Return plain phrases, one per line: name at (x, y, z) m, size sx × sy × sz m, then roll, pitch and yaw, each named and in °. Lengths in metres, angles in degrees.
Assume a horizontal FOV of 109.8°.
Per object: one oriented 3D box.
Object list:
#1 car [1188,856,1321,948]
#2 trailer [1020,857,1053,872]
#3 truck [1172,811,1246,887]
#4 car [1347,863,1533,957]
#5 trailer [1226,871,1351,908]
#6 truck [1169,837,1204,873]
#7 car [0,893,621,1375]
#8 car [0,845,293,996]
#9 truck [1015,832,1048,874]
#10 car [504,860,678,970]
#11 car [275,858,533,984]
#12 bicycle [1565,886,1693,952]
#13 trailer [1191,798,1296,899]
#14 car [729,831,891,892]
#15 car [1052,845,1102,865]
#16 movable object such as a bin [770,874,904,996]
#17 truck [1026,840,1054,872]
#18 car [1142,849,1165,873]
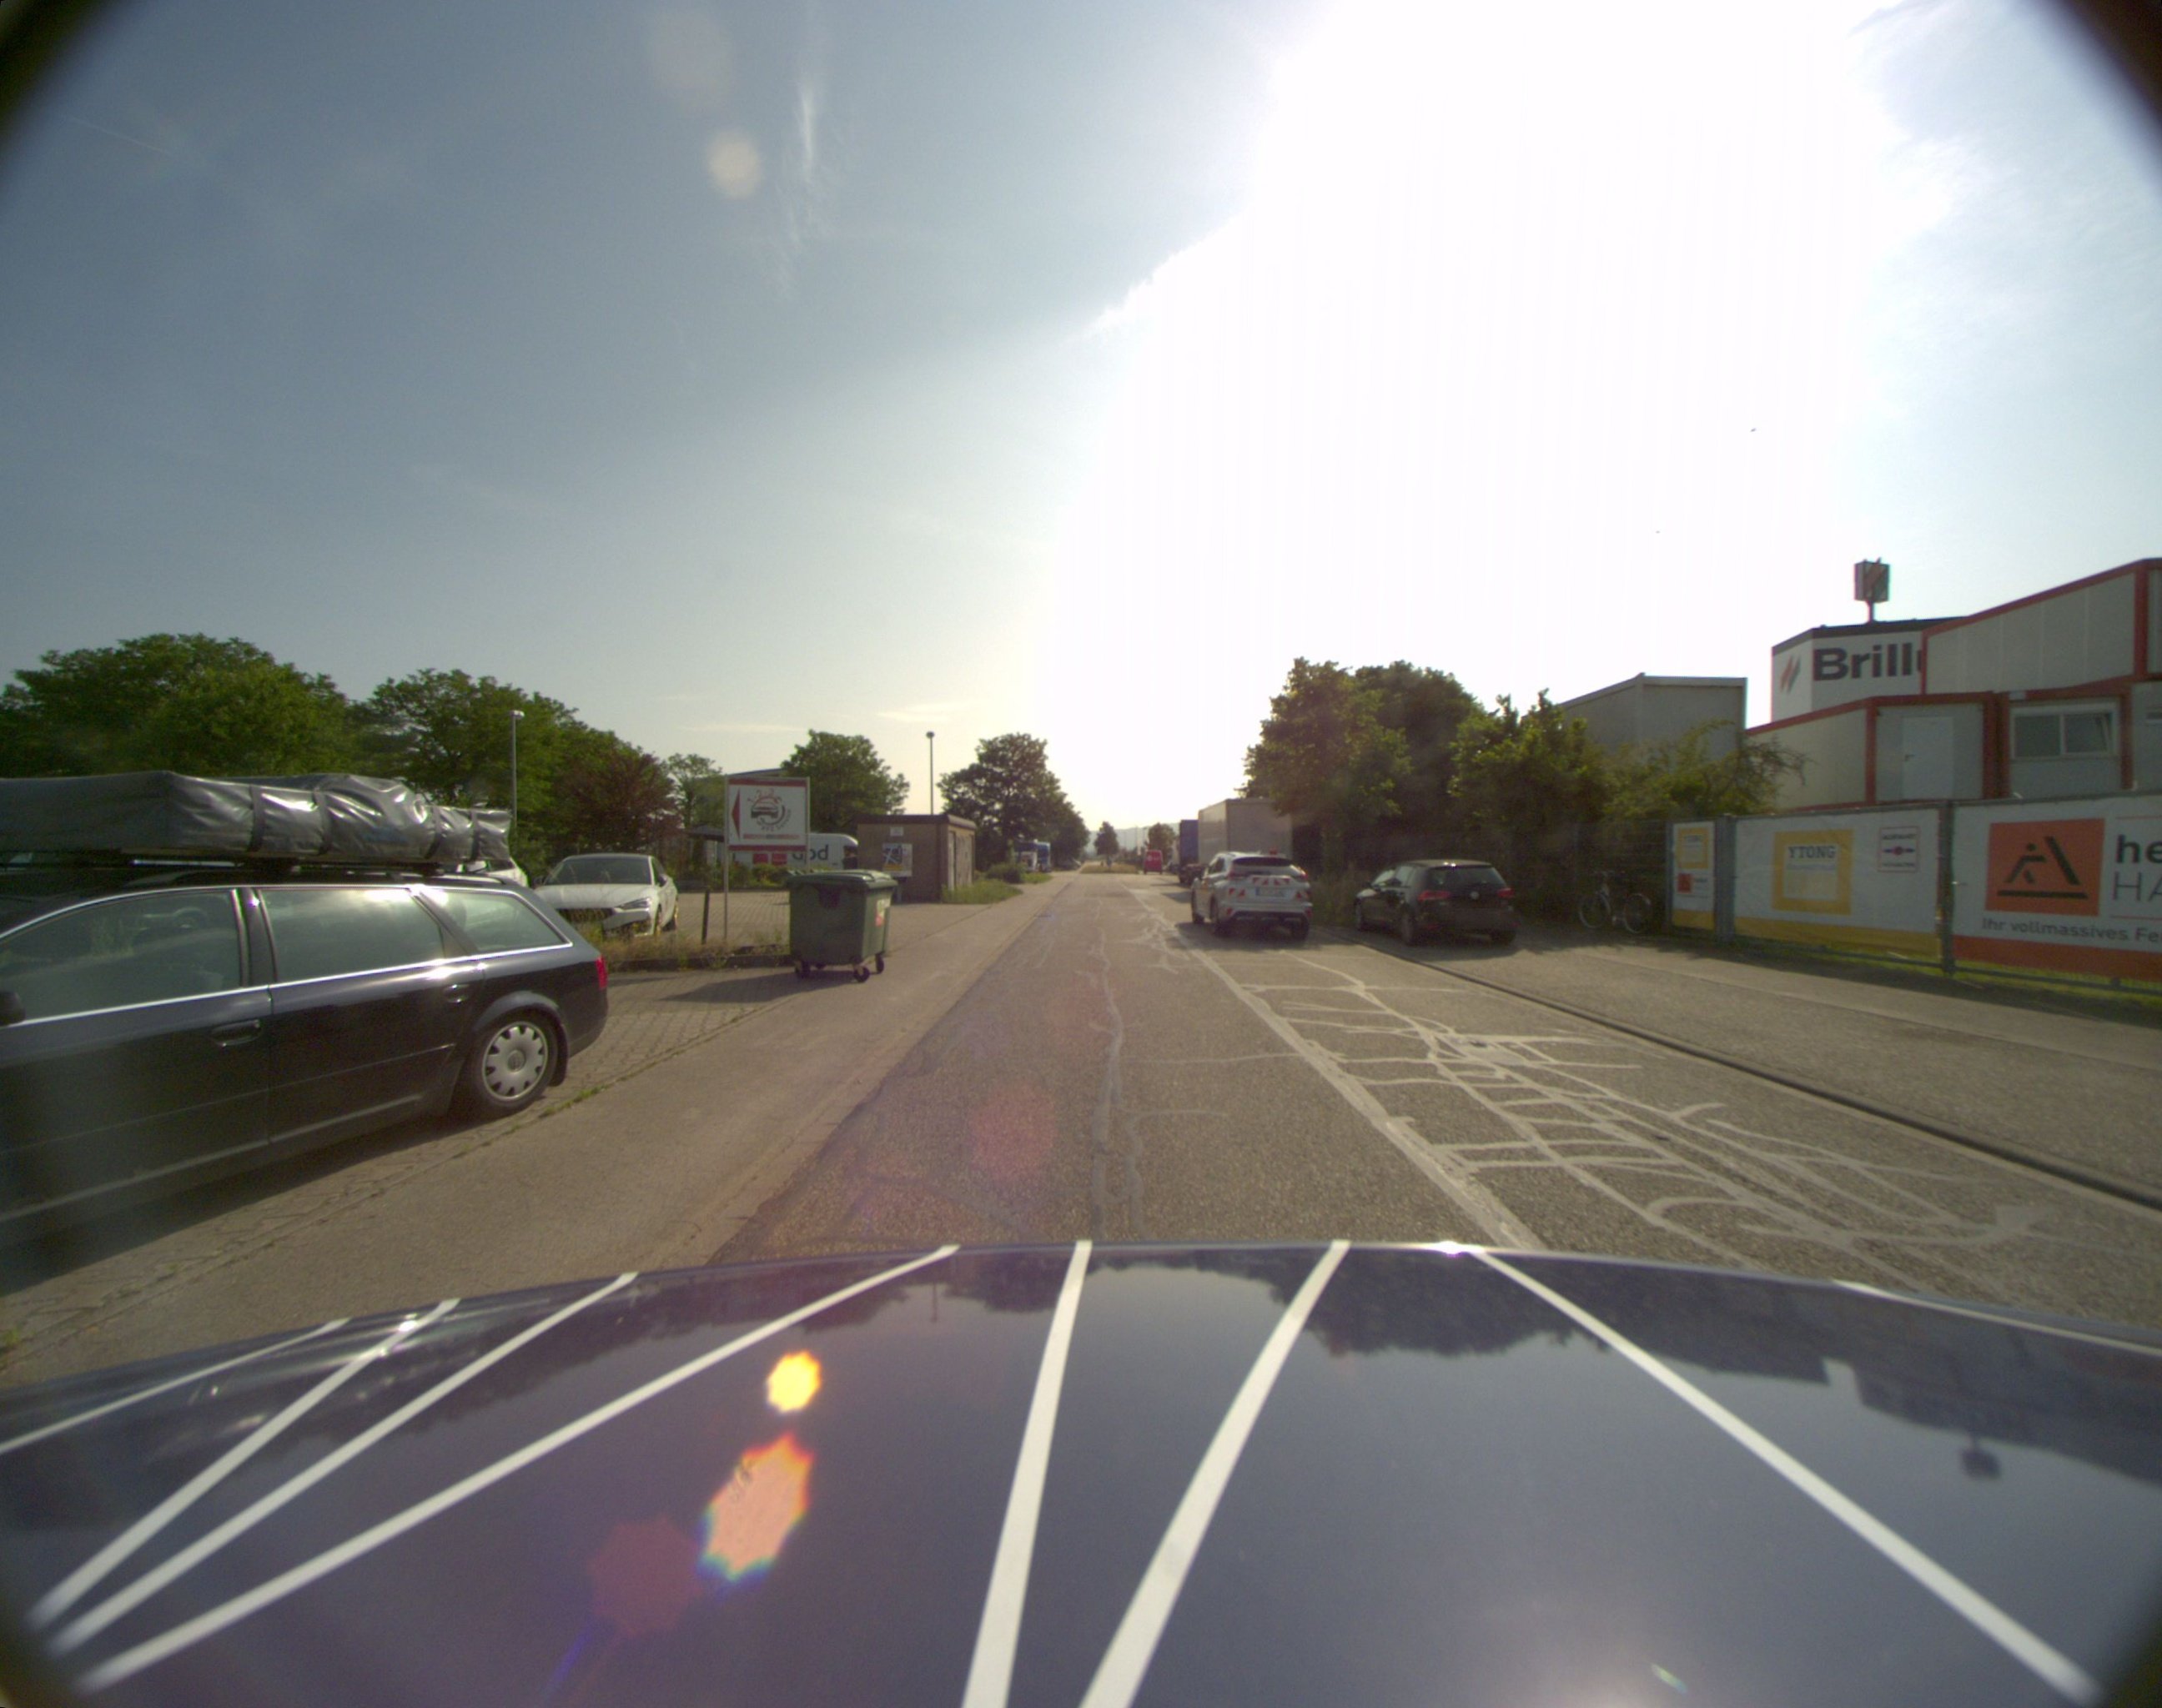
car at (3.416, 0.870, 15.789) m, size 1.816 × 1.617 × 4.249 m, roll 1°, pitch 0°, yaw 1°
trailer at (-4.783, 1.141, 84.860) m, size 2.553 × 1.383 × 14.136 m, roll 1°, pitch 0°, yaw 1°
truck at (7.181, -0.266, 44.007) m, size 2.719 × 3.861 × 9.636 m, roll -1°, pitch 0°, yaw 1°
car at (6.467, 0.921, 14.219) m, size 1.691 × 1.461 × 4.094 m, roll 0°, pitch 0°, yaw 2°
trailer at (6.936, 1.142, 26.337) m, size 2.655 × 0.979 × 6.243 m, roll 1°, pitch 0°, yaw 0°
truck at (11.976, 0.181, 87.224) m, size 2.783 × 3.831 × 10.064 m, roll 1°, pitch 0°, yaw 1°
car at (-4.155, 0.949, 2.998) m, size 1.677 × 1.360 × 4.395 m, roll 0°, pitch 0°, yaw 6°
car at (-12.588, 0.753, 10.198) m, size 1.646 × 1.710 × 3.207 m, roll 0°, pitch 0°, yaw -23°
truck at (-4.901, -0.116, 77.026) m, size 2.559 × 3.958 × 8.581 m, roll 2°, pitch 0°, yaw 1°
car at (-7.797, 0.832, 12.500) m, size 1.695 × 1.457 × 4.254 m, roll 0°, pitch 0°, yaw -23°
car at (-10.067, 0.844, 11.730) m, size 1.723 × 1.563 × 4.125 m, roll 0°, pitch 0°, yaw -23°
bicycle at (9.787, 1.122, 13.713) m, size 0.563 × 0.967 × 2.452 m, roll 0°, pitch 0°, yaw 0°
trailer at (7.014, -0.199, 34.334) m, size 2.706 × 3.861 × 9.765 m, roll -1°, pitch 0°, yaw 1°
car at (-12.260, 0.310, 34.879) m, size 6.749 × 2.524 × 2.278 m, roll -1°, pitch 0°, yaw -15°
car at (-0.736, 0.175, 128.403) m, size 8.151 × 3.217 × 2.663 m, roll -1°, pitch 0°, yaw -4°
movable object such as a bin at (-3.044, 0.975, 9.677) m, size 1.083 × 1.345 × 1.506 m, roll 3°, pitch 0°, yaw 4°
truck at (-5.258, 0.273, 99.351) m, size 3.043 × 3.916 × 10.578 m, roll 0°, pitch 0°, yaw 0°
car at (7.914, 0.717, 83.945) m, size 1.998 × 2.532 × 6.990 m, roll 1°, pitch 0°, yaw 1°
